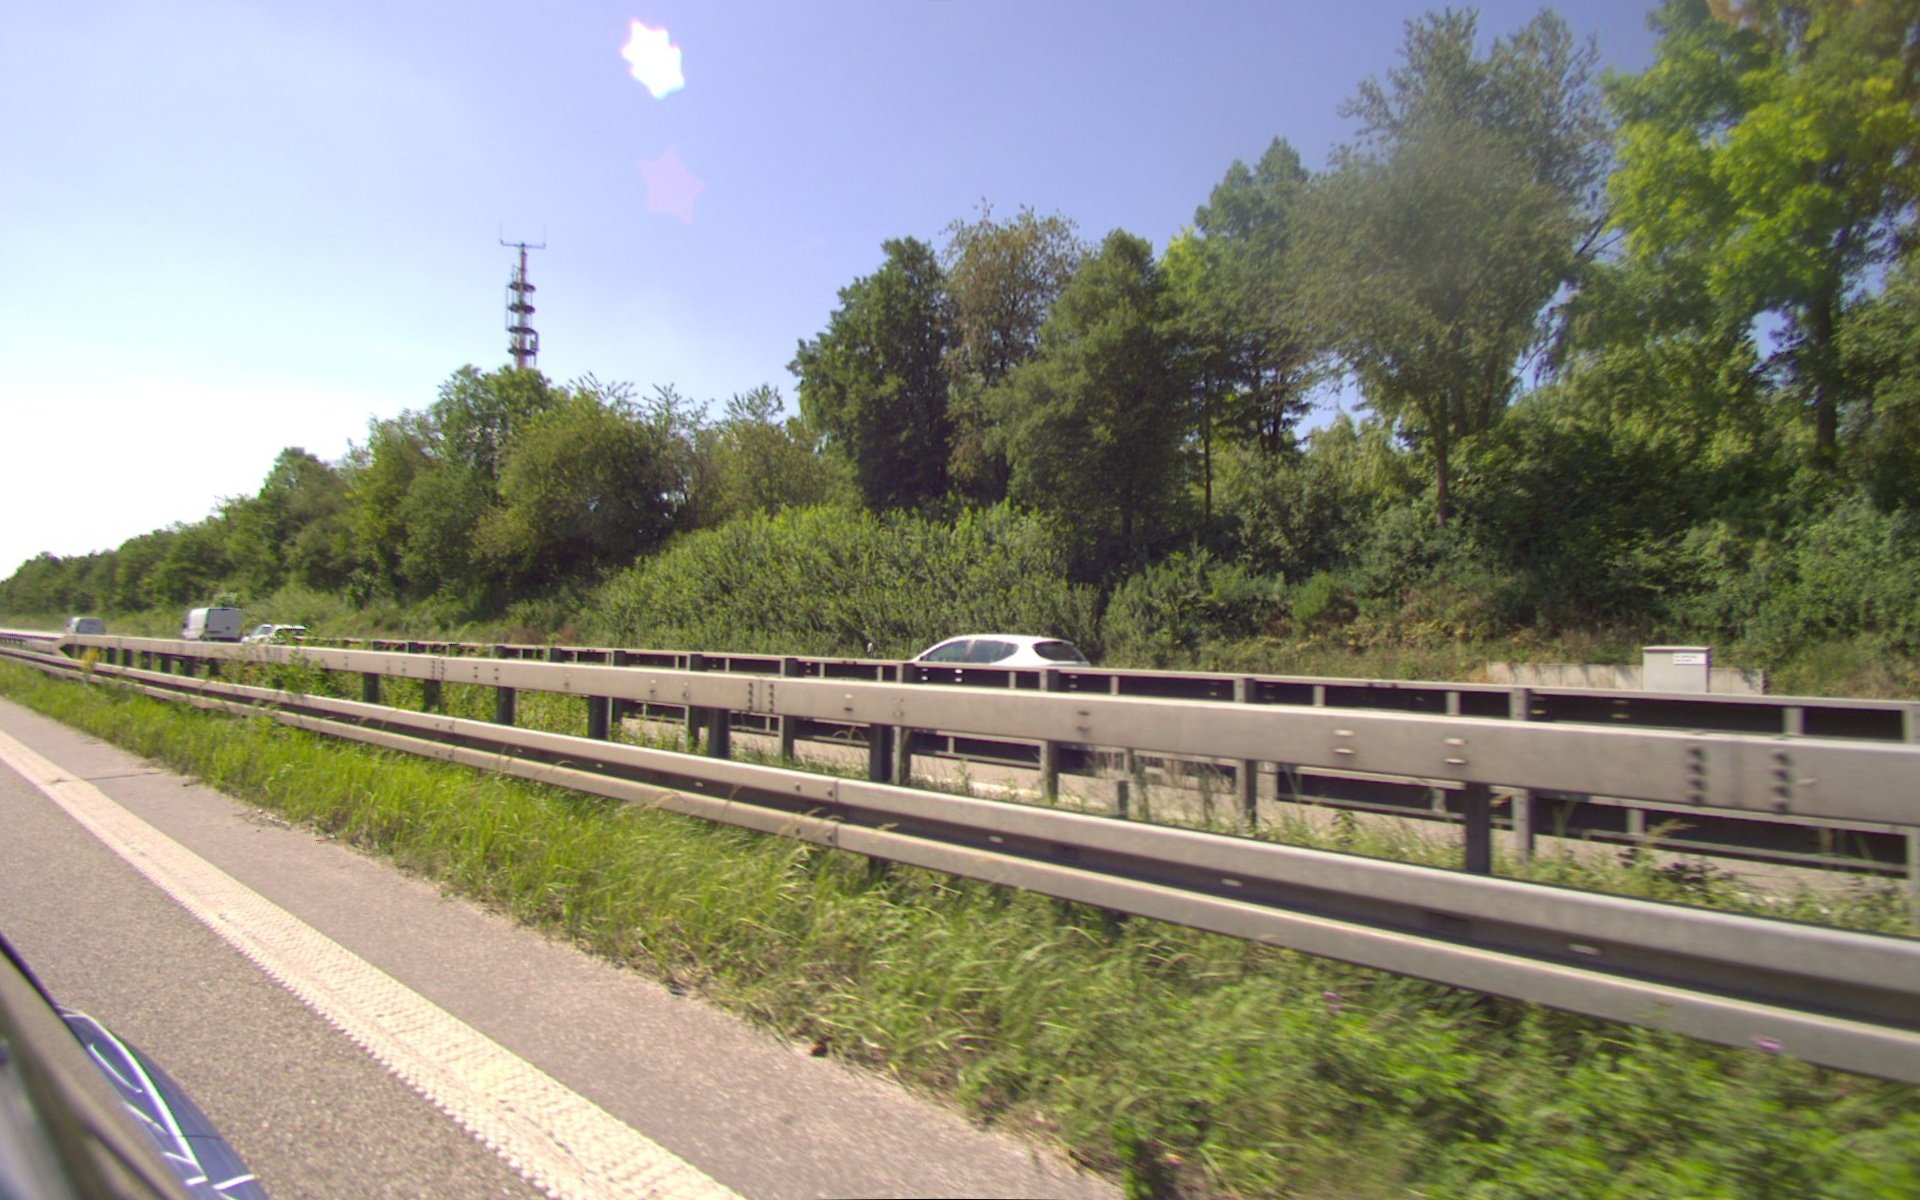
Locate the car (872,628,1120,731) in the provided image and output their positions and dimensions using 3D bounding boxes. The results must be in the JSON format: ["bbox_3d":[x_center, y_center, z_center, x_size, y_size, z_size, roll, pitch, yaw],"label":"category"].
[{"bbox_3d":[0.512,1.231,16.528,3.880,1.475,1.648,-1,-4,41],"label":"car"}]

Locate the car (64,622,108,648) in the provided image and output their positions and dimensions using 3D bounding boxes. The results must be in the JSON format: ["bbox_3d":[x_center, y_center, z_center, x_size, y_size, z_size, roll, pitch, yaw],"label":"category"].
[{"bbox_3d":[-64.987,2.625,75.234,5.166,1.844,1.727,-1,-4,41],"label":"car"}]

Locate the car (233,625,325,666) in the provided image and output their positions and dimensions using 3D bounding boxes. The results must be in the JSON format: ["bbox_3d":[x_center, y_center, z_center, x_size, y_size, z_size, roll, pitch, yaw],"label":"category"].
[{"bbox_3d":[-28.667,1.904,42.521,5.307,1.622,1.859,-1,-4,41],"label":"car"}]

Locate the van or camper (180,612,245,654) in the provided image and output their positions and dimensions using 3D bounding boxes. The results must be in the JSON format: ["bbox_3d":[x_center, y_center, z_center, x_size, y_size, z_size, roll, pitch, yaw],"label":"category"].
[{"bbox_3d":[-48.010,2.099,64.926,6.195,2.579,2.016,-1,-4,41],"label":"van or camper"}]
